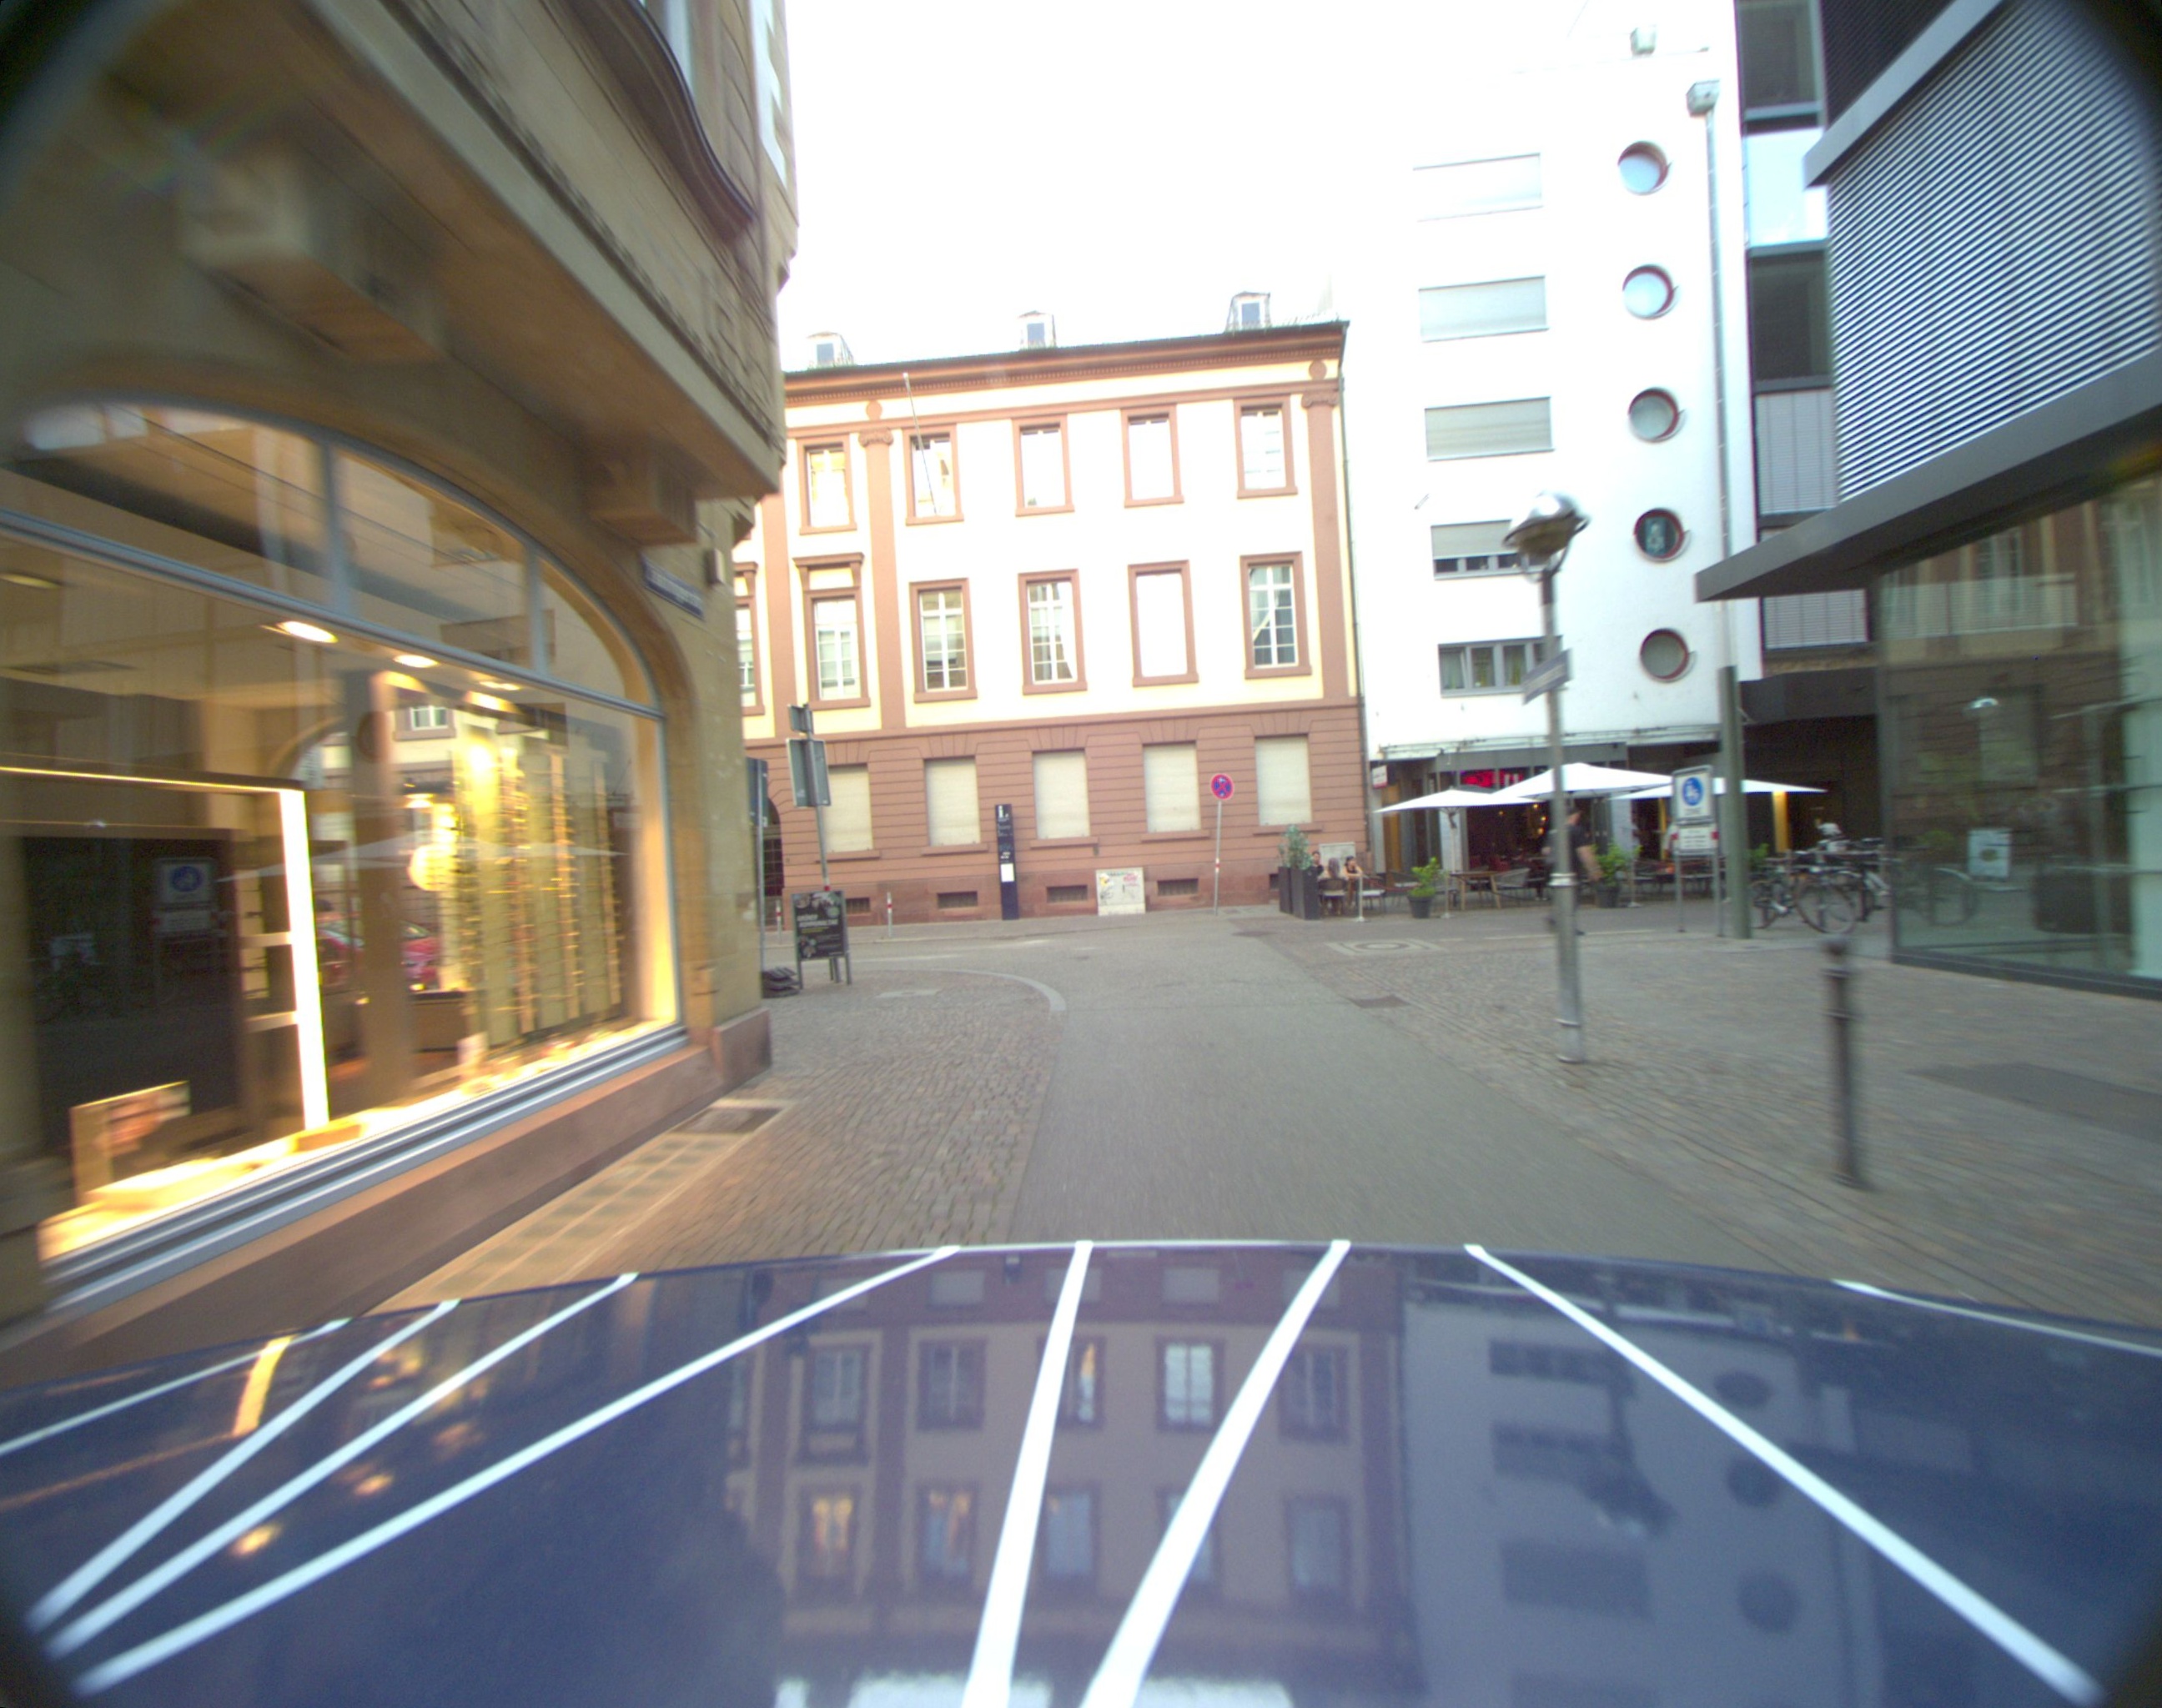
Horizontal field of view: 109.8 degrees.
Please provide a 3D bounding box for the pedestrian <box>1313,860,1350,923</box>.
[{"bbox_3d":[4.985,0.736,15.141,0.561,1.204,0.461,-3,1,5],"label":"pedestrian"}]

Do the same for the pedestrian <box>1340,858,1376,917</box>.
[{"bbox_3d":[5.947,0.713,16.320,0.548,1.204,0.524,-3,1,5],"label":"pedestrian"}]

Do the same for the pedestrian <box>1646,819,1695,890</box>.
[{"bbox_3d":[14.219,0.017,18.331,0.671,1.656,0.623,-4,1,-25],"label":"pedestrian"}]

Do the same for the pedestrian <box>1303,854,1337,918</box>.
[{"bbox_3d":[5.236,0.694,16.650,0.548,1.341,0.489,-3,1,5],"label":"pedestrian"}]

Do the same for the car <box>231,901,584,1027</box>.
[{"bbox_3d":[-10.229,1.652,11.732,3.996,1.435,1.650,-4,3,4],"label":"car"}]

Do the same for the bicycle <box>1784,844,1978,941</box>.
[{"bbox_3d":[10.541,0.483,10.123,0.609,1.143,1.842,-3,-1,2],"label":"bicycle"}]

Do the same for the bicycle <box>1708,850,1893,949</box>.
[{"bbox_3d":[8.989,0.539,9.600,0.709,1.106,1.674,-3,-1,2],"label":"bicycle"}]

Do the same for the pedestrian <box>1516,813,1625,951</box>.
[{"bbox_3d":[6.707,0.368,10.422,0.969,1.775,0.739,-3,1,-17],"label":"pedestrian"}]
